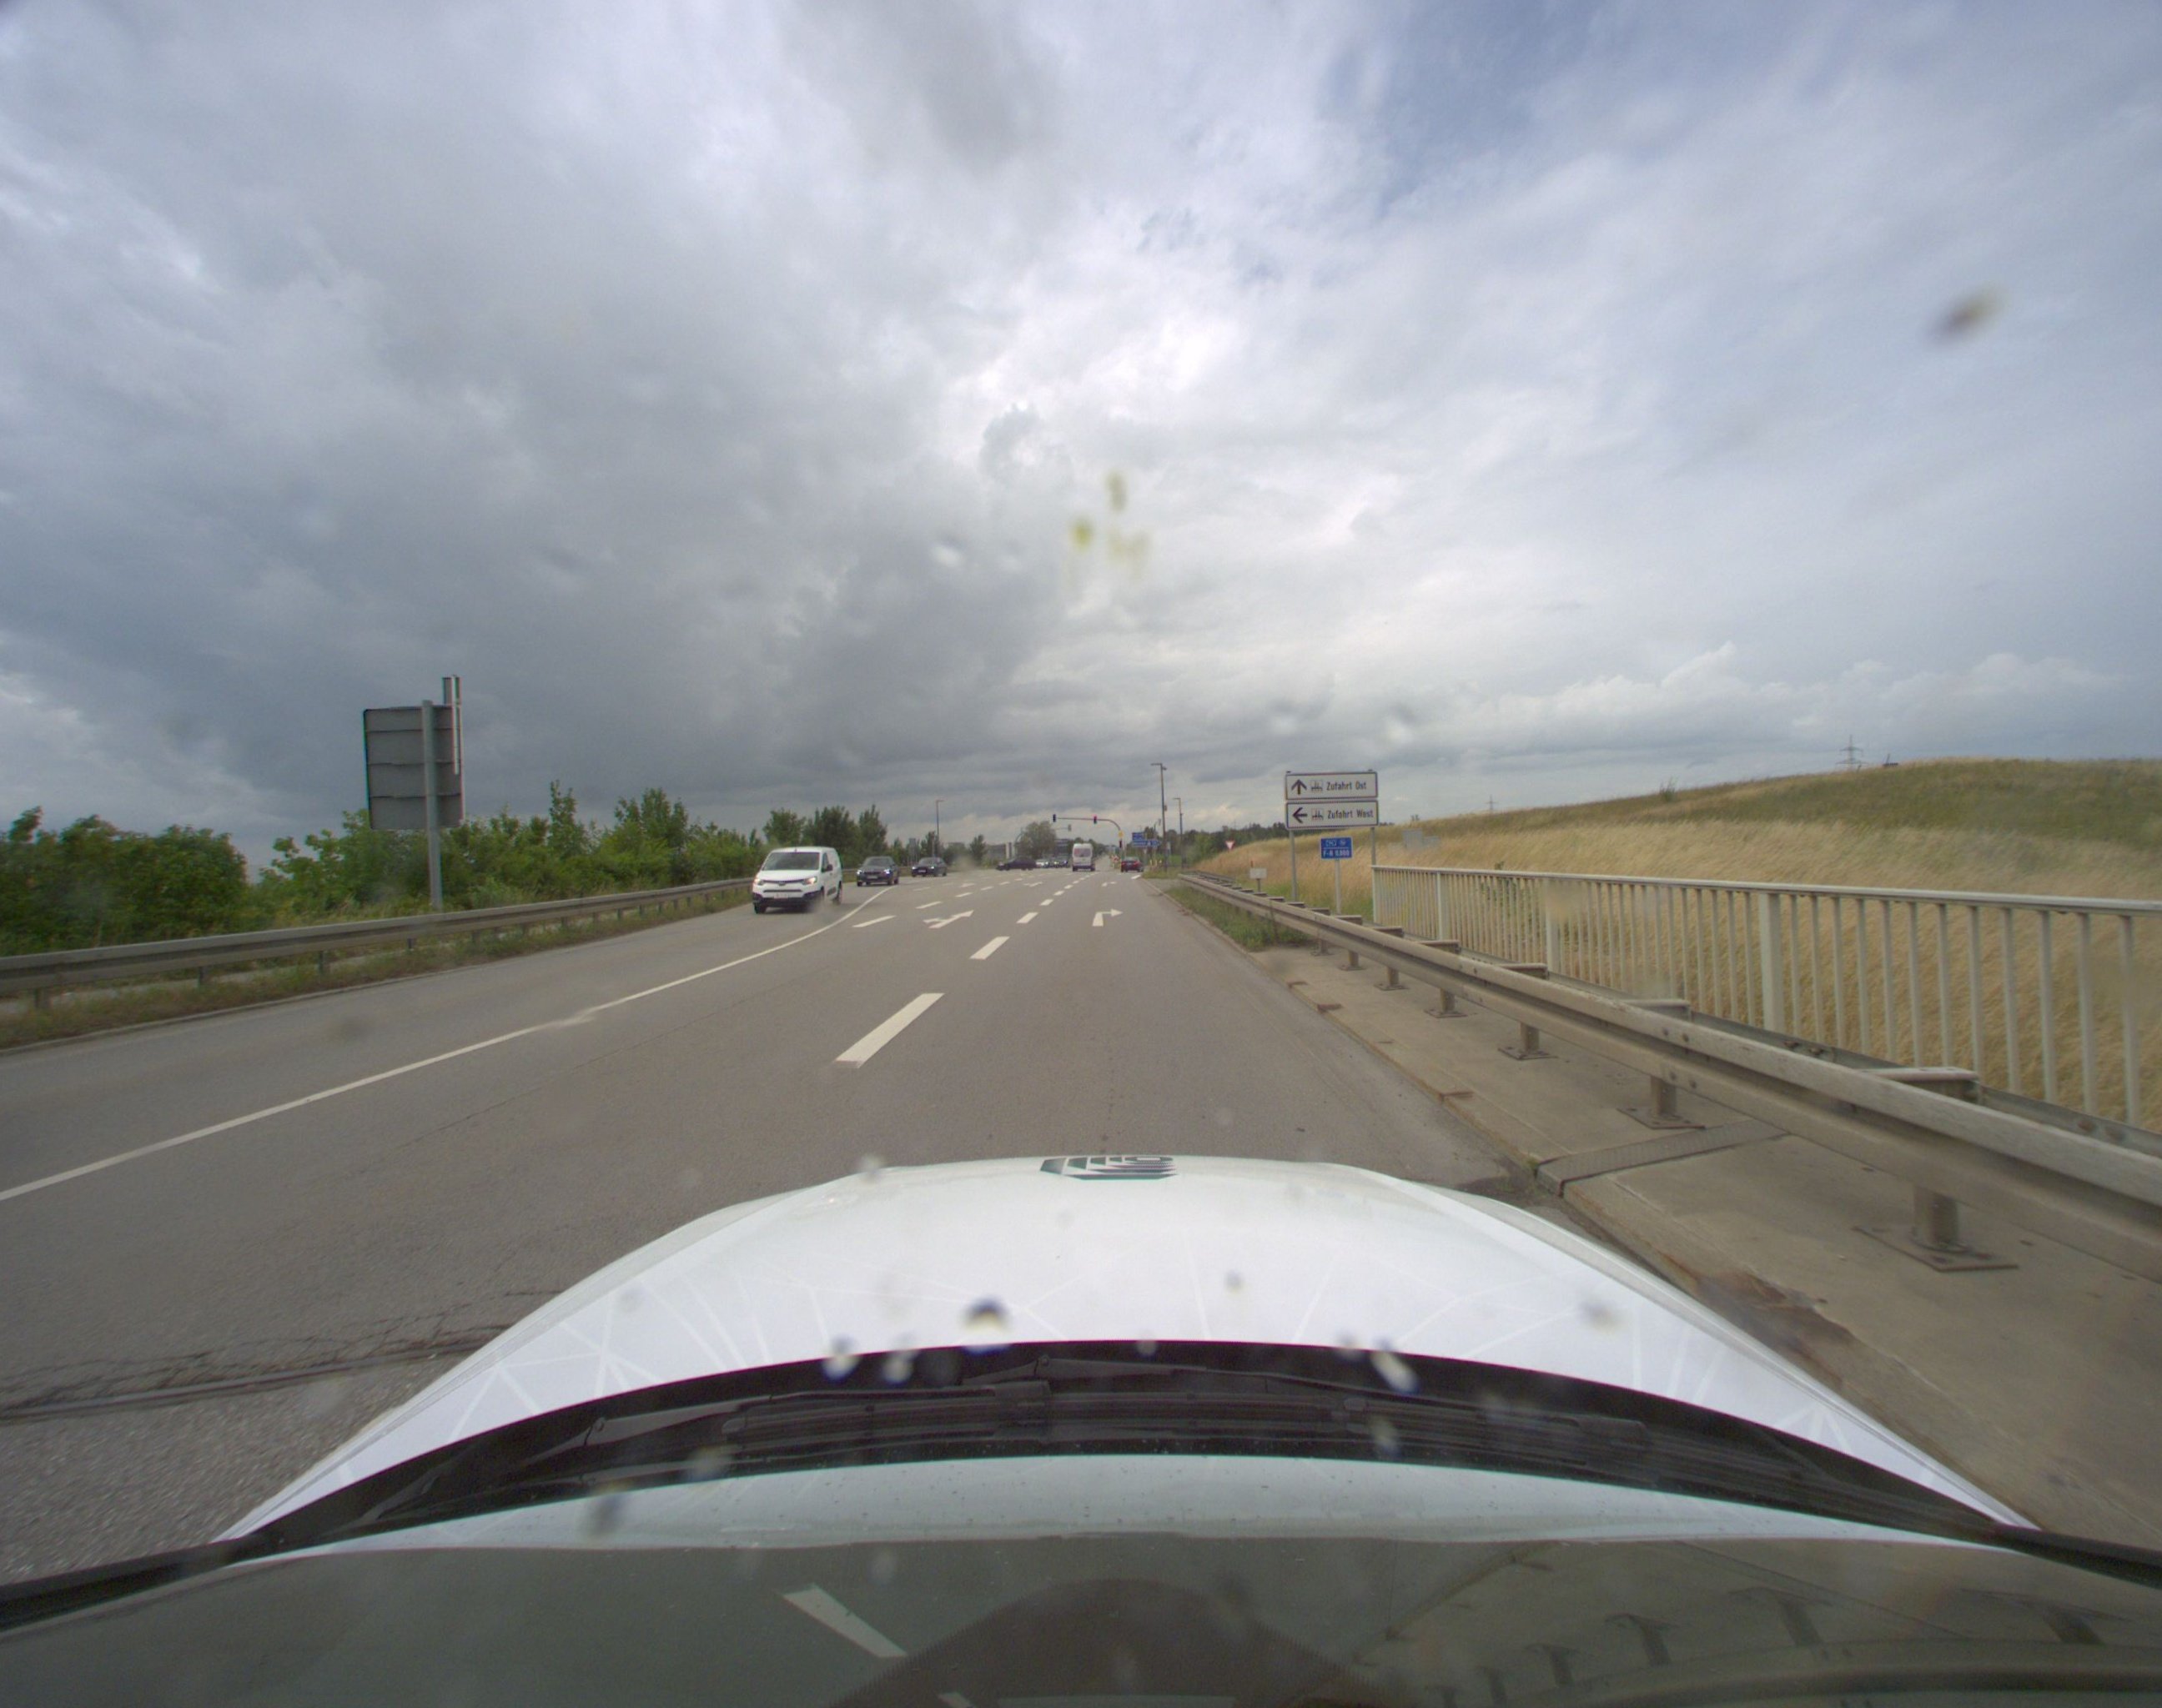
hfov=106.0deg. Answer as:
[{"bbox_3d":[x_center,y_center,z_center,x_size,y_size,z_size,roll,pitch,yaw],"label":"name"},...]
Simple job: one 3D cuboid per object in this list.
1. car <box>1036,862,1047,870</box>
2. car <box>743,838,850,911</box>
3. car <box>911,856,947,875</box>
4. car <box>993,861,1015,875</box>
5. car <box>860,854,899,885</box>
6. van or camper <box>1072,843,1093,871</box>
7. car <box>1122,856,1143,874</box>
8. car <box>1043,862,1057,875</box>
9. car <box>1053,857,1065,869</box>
[{"bbox_3d":[-6.529,2.030,136.130,1.474,1.282,3.536,-2,0,3],"label":"car"},{"bbox_3d":[-8.142,0.554,23.774,1.952,1.874,4.808,-1,0,-7],"label":"car"},{"bbox_3d":[-11.370,0.858,61.185,1.803,1.369,4.784,0,-1,0],"label":"car"},{"bbox_3d":[-8.484,1.543,90.146,1.837,1.425,3.911,-2,-1,3],"label":"car"},{"bbox_3d":[-10.599,0.796,42.976,1.582,1.557,4.134,-1,0,-8],"label":"car"},{"bbox_3d":[0.184,0.238,77.062,1.869,2.581,4.002,0,0,2],"label":"van or camper"},{"bbox_3d":[4.428,0.924,70.157,1.510,1.485,3.623,-2,0,7],"label":"car"},{"bbox_3d":[-4.486,2.103,118.630,1.631,1.852,3.751,-2,0,3],"label":"car"},{"bbox_3d":[-3.569,1.506,133.899,1.631,1.852,3.751,-2,0,3],"label":"car"}]
